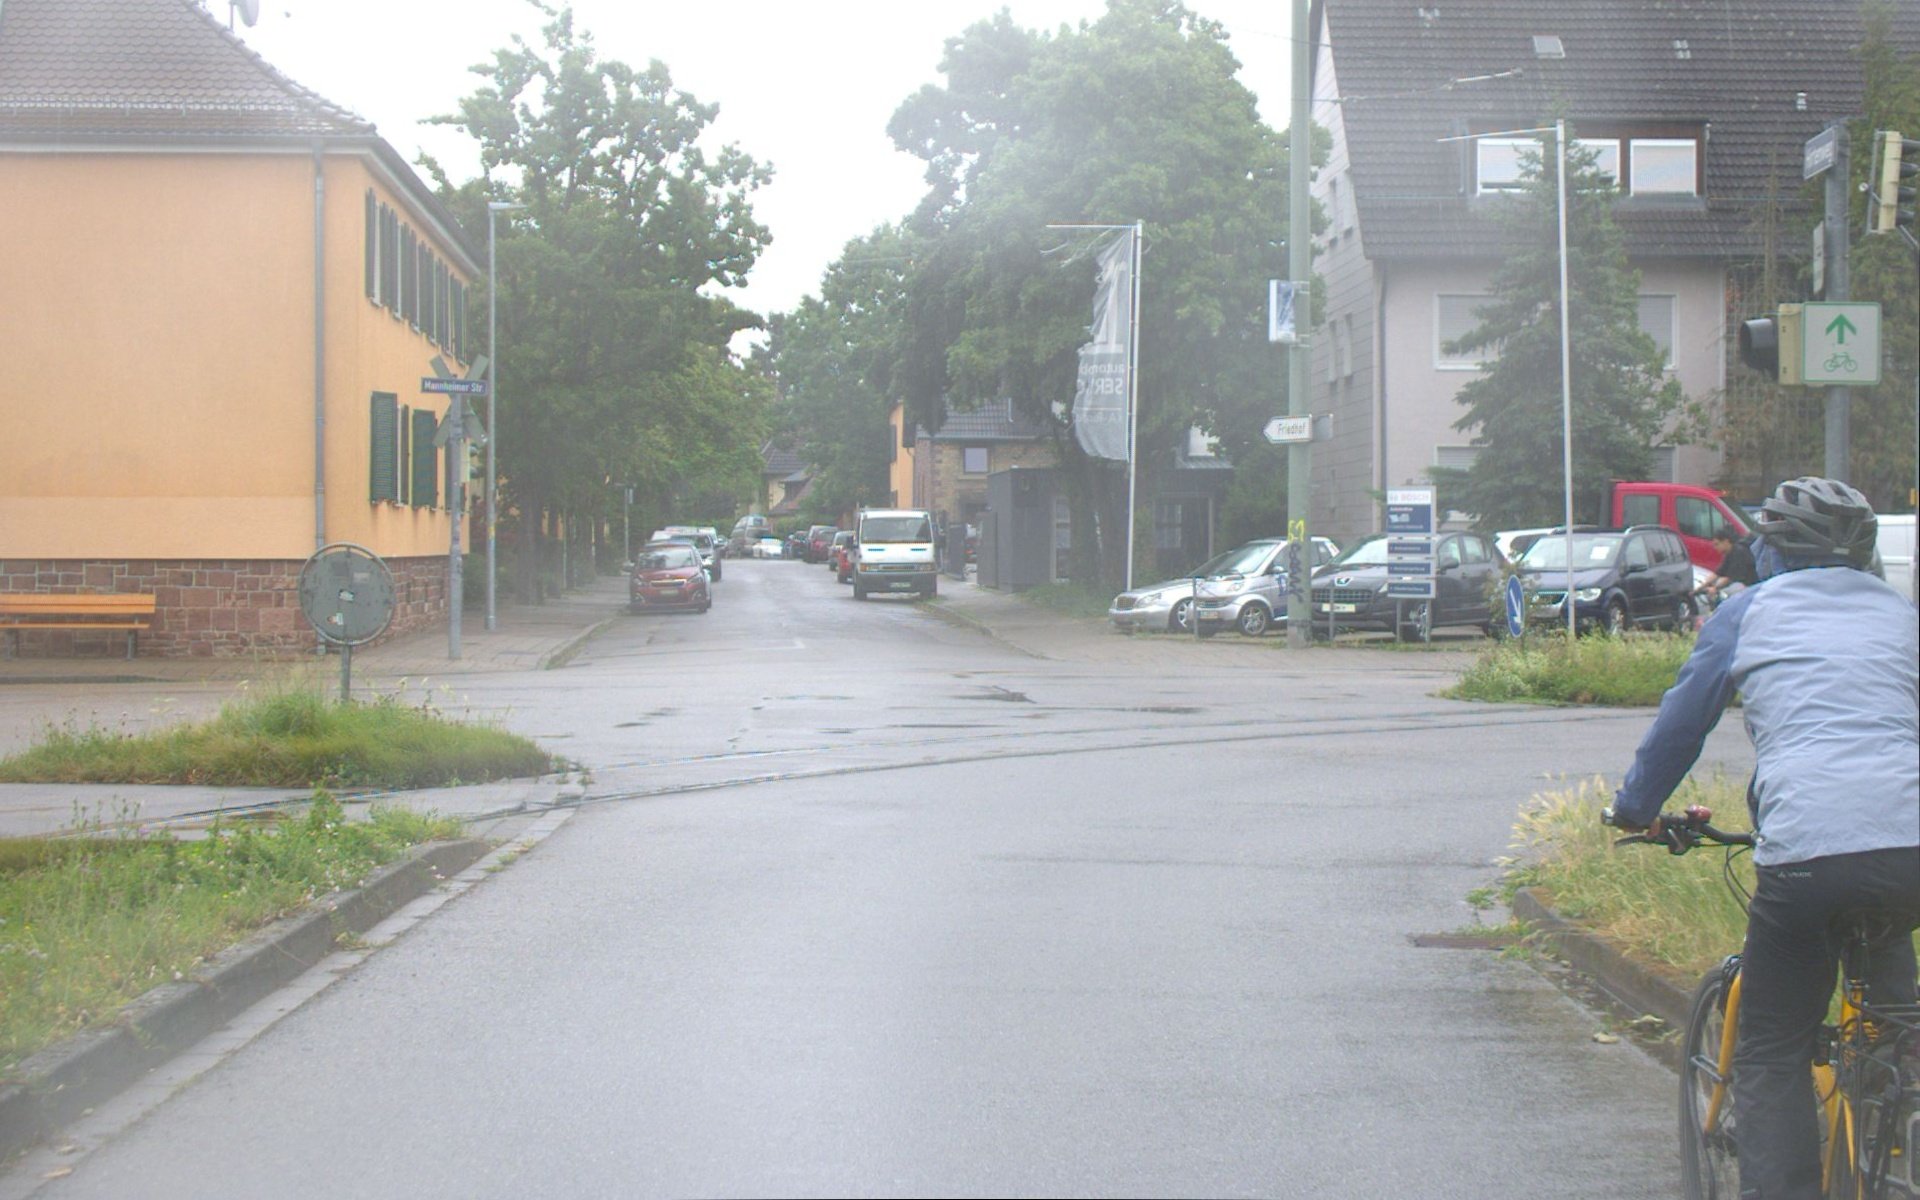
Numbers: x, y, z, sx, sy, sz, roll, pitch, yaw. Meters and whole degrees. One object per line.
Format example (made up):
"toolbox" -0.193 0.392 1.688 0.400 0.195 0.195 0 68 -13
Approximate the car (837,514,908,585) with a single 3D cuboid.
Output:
"car" -2.634 -1.499 102.745 1.993 2.007 4.000 2 1 -2

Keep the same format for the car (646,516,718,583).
"car" -8.697 -1.595 107.964 1.993 2.007 4.000 2 1 -2

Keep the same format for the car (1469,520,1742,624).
"car" 10.121 -0.426 53.859 3.969 1.592 1.998 0 0 19

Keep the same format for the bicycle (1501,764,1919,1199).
"bicycle" 1.518 0.900 6.299 0.752 1.069 1.927 -1 1 1

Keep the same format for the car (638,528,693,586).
"car" -10.593 -1.558 123.831 1.828 2.007 4.001 2 1 -4

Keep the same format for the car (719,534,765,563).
"car" -13.419 -3.185 211.450 1.828 1.691 4.033 2 1 -18

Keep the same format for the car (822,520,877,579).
"car" -3.995 -1.806 123.321 1.828 2.007 4.001 2 1 -3

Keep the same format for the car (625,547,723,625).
"car" -6.064 -0.298 73.191 1.993 1.612 4.001 0 0 -4

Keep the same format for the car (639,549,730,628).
"car" -6.223 -0.264 77.936 1.993 1.744 4.001 0 0 -4

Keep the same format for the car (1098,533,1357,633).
"car" 4.413 -0.293 56.757 3.858 1.573 1.808 -1 1 -21

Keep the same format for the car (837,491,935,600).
"car" -1.869 -1.365 85.422 2.153 2.564 4.134 2 1 -4

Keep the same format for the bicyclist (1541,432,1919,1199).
"bicyclist" 1.505 0.453 6.215 0.751 1.480 0.846 -1 1 1

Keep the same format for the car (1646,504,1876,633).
"car" 11.240 -0.447 48.078 1.997 1.711 3.993 0 1 31

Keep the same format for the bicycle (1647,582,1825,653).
"bicycle" 8.933 0.197 39.623 1.813 0.784 0.942 -1 1 -3

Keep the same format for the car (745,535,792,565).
"car" -11.487 -3.029 206.058 1.828 1.691 4.033 2 1 -18

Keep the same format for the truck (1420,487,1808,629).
"truck" 10.815 -0.666 56.870 6.088 2.264 1.998 0 0 18

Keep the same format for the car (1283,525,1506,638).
"car" 6.366 -0.297 50.084 1.805 1.573 3.865 0 1 31

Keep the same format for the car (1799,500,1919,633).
"car" 15.355 -0.507 52.848 4.432 2.007 2.000 0 0 1

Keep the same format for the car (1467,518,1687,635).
"car" 8.777 -0.355 48.681 1.805 1.573 3.865 0 1 31

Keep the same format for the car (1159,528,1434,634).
"car" 5.256 -0.313 53.726 3.858 1.573 1.808 -1 1 -21

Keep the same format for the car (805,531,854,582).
"car" -5.423 -1.814 142.414 1.828 2.007 4.001 2 1 -4

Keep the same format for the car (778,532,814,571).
"car" -8.987 -2.651 187.814 1.828 2.007 4.001 2 1 -4

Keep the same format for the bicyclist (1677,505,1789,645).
"bicyclist" 8.907 -0.292 39.645 1.039 1.592 0.950 -1 1 -3
